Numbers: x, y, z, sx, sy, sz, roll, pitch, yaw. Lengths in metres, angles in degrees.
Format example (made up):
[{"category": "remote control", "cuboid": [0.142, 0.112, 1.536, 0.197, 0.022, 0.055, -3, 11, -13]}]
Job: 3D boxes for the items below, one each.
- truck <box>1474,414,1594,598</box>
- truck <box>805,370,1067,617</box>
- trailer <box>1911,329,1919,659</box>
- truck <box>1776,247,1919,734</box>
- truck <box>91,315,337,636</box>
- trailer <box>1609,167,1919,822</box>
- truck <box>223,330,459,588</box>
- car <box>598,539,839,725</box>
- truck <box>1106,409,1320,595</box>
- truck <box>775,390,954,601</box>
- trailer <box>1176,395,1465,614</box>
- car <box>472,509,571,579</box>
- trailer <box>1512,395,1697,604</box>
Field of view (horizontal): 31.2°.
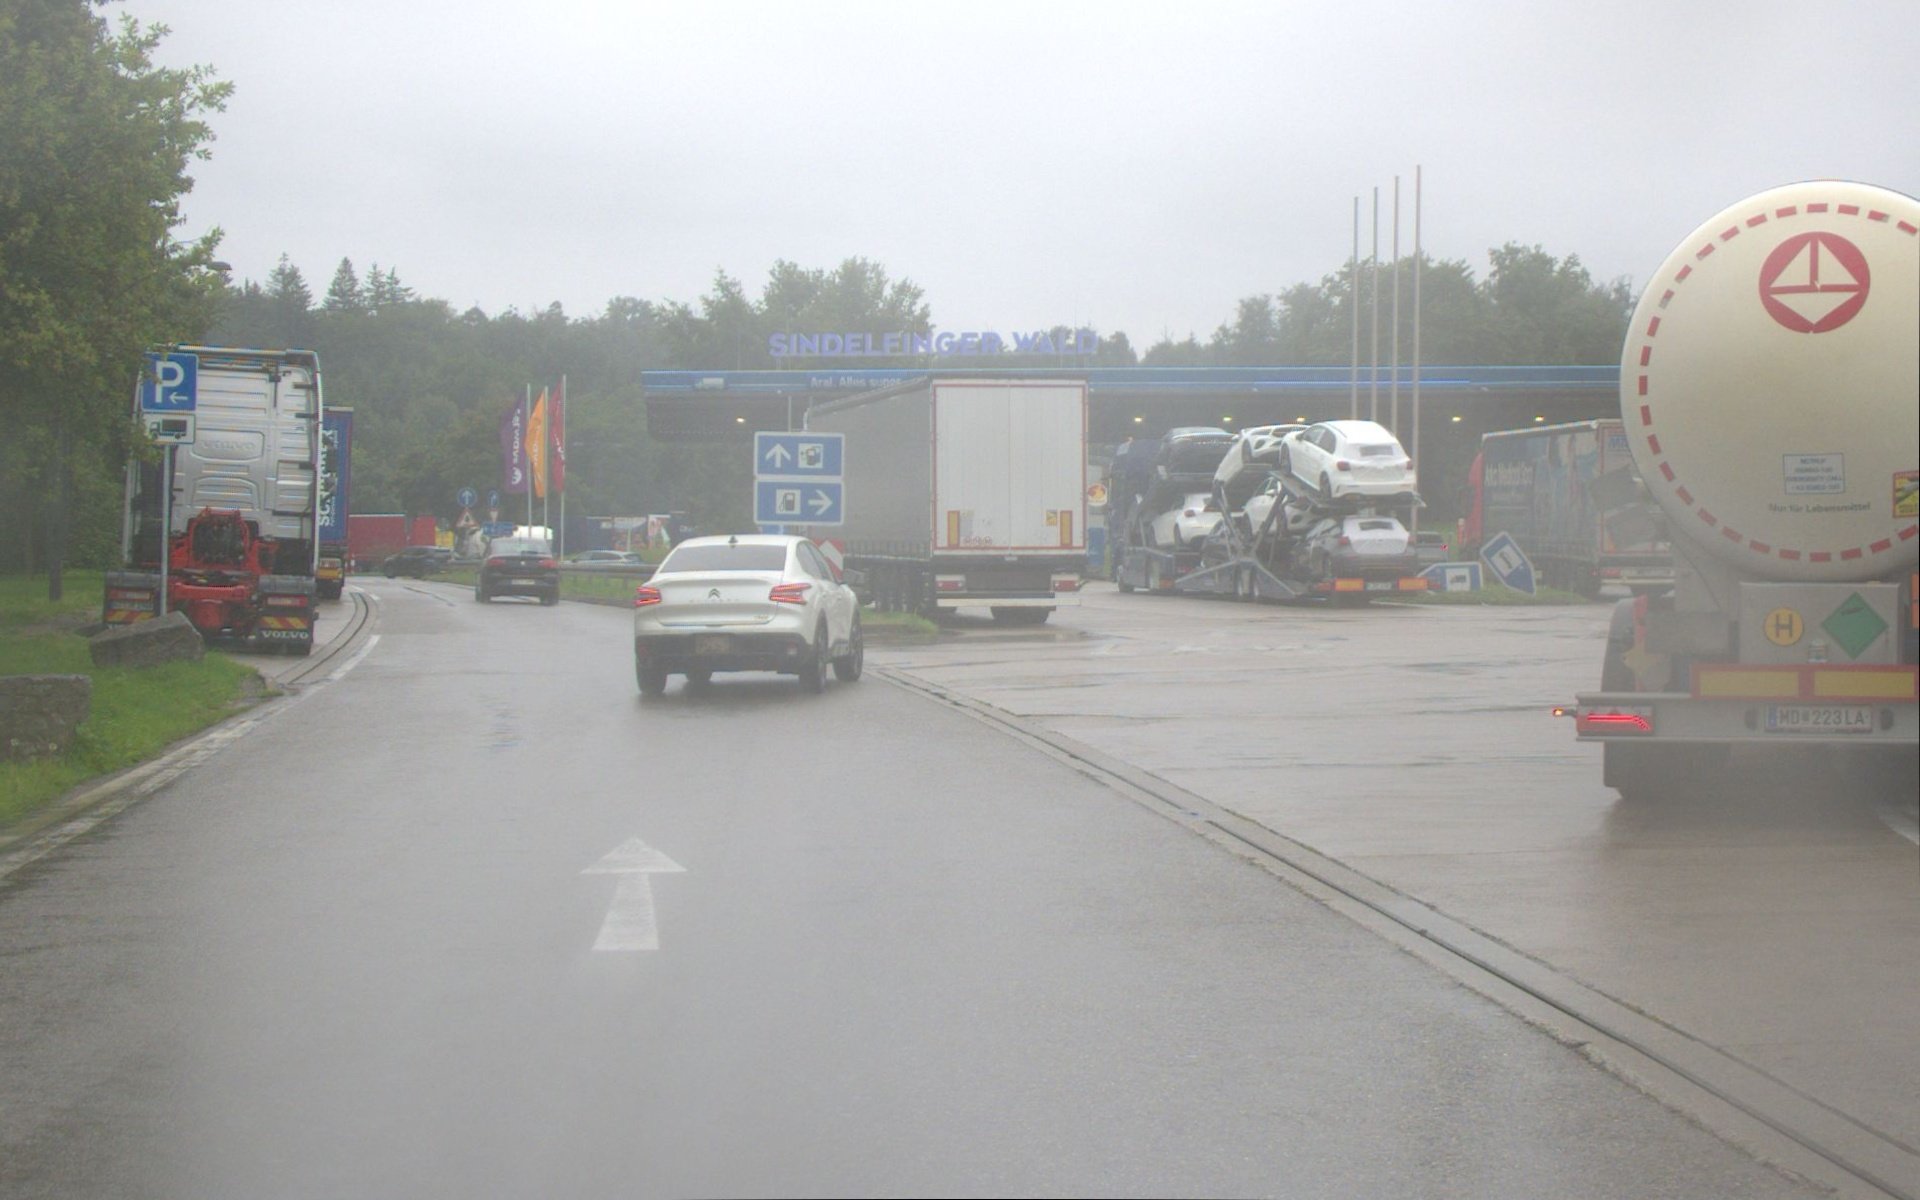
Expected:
[{"category": "truck", "cuboid": [14.556, -2.359, 87.480, 1.988, 4.534, 4.796, 1, 1, -3]}, {"category": "truck", "cuboid": [-0.645, -1.821, 59.906, 2.370, 3.860, 12.459, 0, 1, -11]}, {"category": "trailer", "cuboid": [13.317, -1.173, 39.652, 2.135, 3.429, 10.236, 1, 1, 29]}, {"category": "truck", "cuboid": [7.765, -0.825, 27.098, 2.055, 3.519, 4.741, 1, 1, 19]}, {"category": "truck", "cuboid": [-9.663, -1.572, 45.096, 2.914, 3.891, 6.318, 0, 1, -10]}, {"category": "trailer", "cuboid": [5.953, -0.598, 21.893, 1.982, 3.213, 10.311, 1, 1, 19]}, {"category": "truck", "cuboid": [-13.951, -3.033, 76.542, 4.790, 5.287, 11.073, 0, 1, -12]}, {"category": "car", "cuboid": [-2.284, 0.305, 33.510, 1.993, 1.673, 4.000, 1, 0, 1]}, {"category": "truck", "cuboid": [5.936, -2.339, 82.353, 3.233, 4.174, 8.446, 1, 1, -8]}, {"category": "truck", "cuboid": [-1.924, -2.002, 66.517, 2.370, 3.860, 7.014, 0, 1, -11]}, {"category": "trailer", "cuboid": [7.368, -2.014, 72.487, 3.215, 4.174, 11.533, 1, 1, -8]}, {"category": "car", "cuboid": [-9.632, -1.218, 75.672, 1.878, 1.456, 4.001, 1, 1, -4]}, {"category": "trailer", "cuboid": [14.897, -2.259, 80.174, 1.993, 4.543, 9.810, 1, 1, -3]}]
